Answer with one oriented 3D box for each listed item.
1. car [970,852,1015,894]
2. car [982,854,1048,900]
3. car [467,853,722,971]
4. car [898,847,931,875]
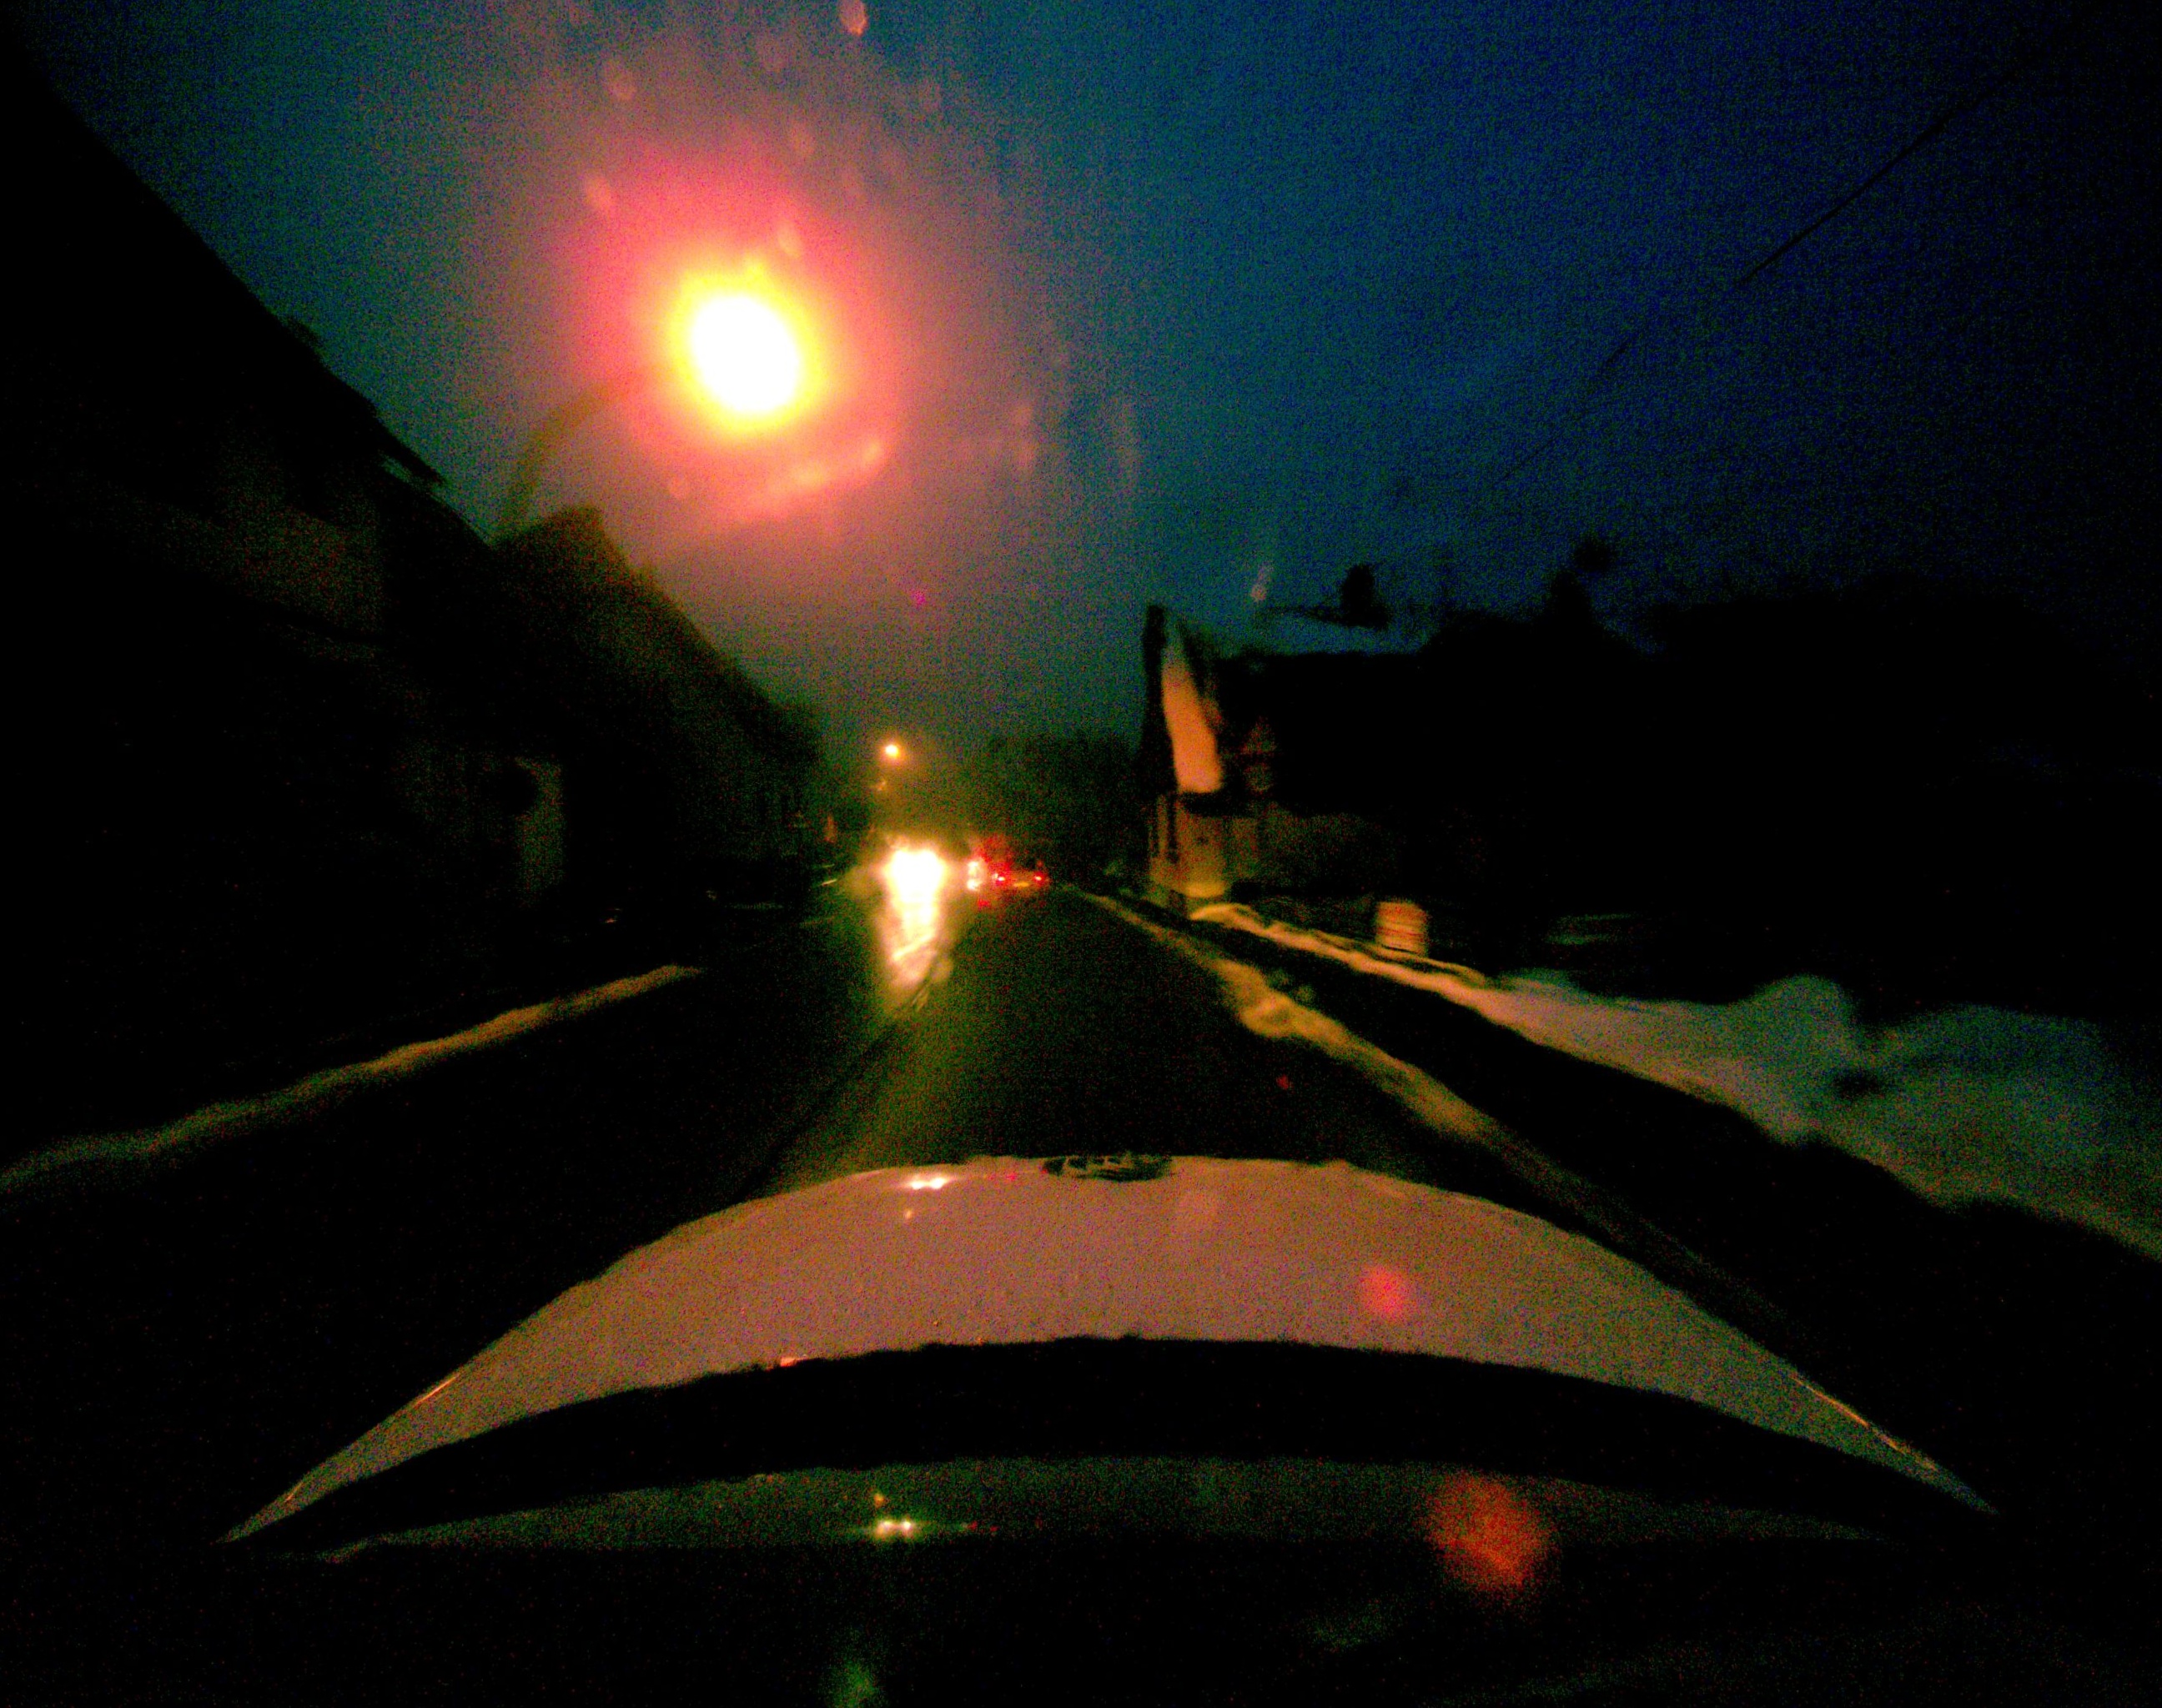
[{"bbox_3d":[-4.471,0.964,41.665,1.988,2.014,3.996,1,-2,-2],"label":"car"},{"bbox_3d":[-2.423,0.809,29.099,1.993,1.508,3.986,1,-2,-9],"label":"car"},{"bbox_3d":[-7.516,0.782,13.166,1.992,1.522,4.181,0,1,-7],"label":"car"},{"bbox_3d":[-11.082,0.519,54.384,1.840,1.687,4.464,-2,-1,-9],"label":"car"}]
